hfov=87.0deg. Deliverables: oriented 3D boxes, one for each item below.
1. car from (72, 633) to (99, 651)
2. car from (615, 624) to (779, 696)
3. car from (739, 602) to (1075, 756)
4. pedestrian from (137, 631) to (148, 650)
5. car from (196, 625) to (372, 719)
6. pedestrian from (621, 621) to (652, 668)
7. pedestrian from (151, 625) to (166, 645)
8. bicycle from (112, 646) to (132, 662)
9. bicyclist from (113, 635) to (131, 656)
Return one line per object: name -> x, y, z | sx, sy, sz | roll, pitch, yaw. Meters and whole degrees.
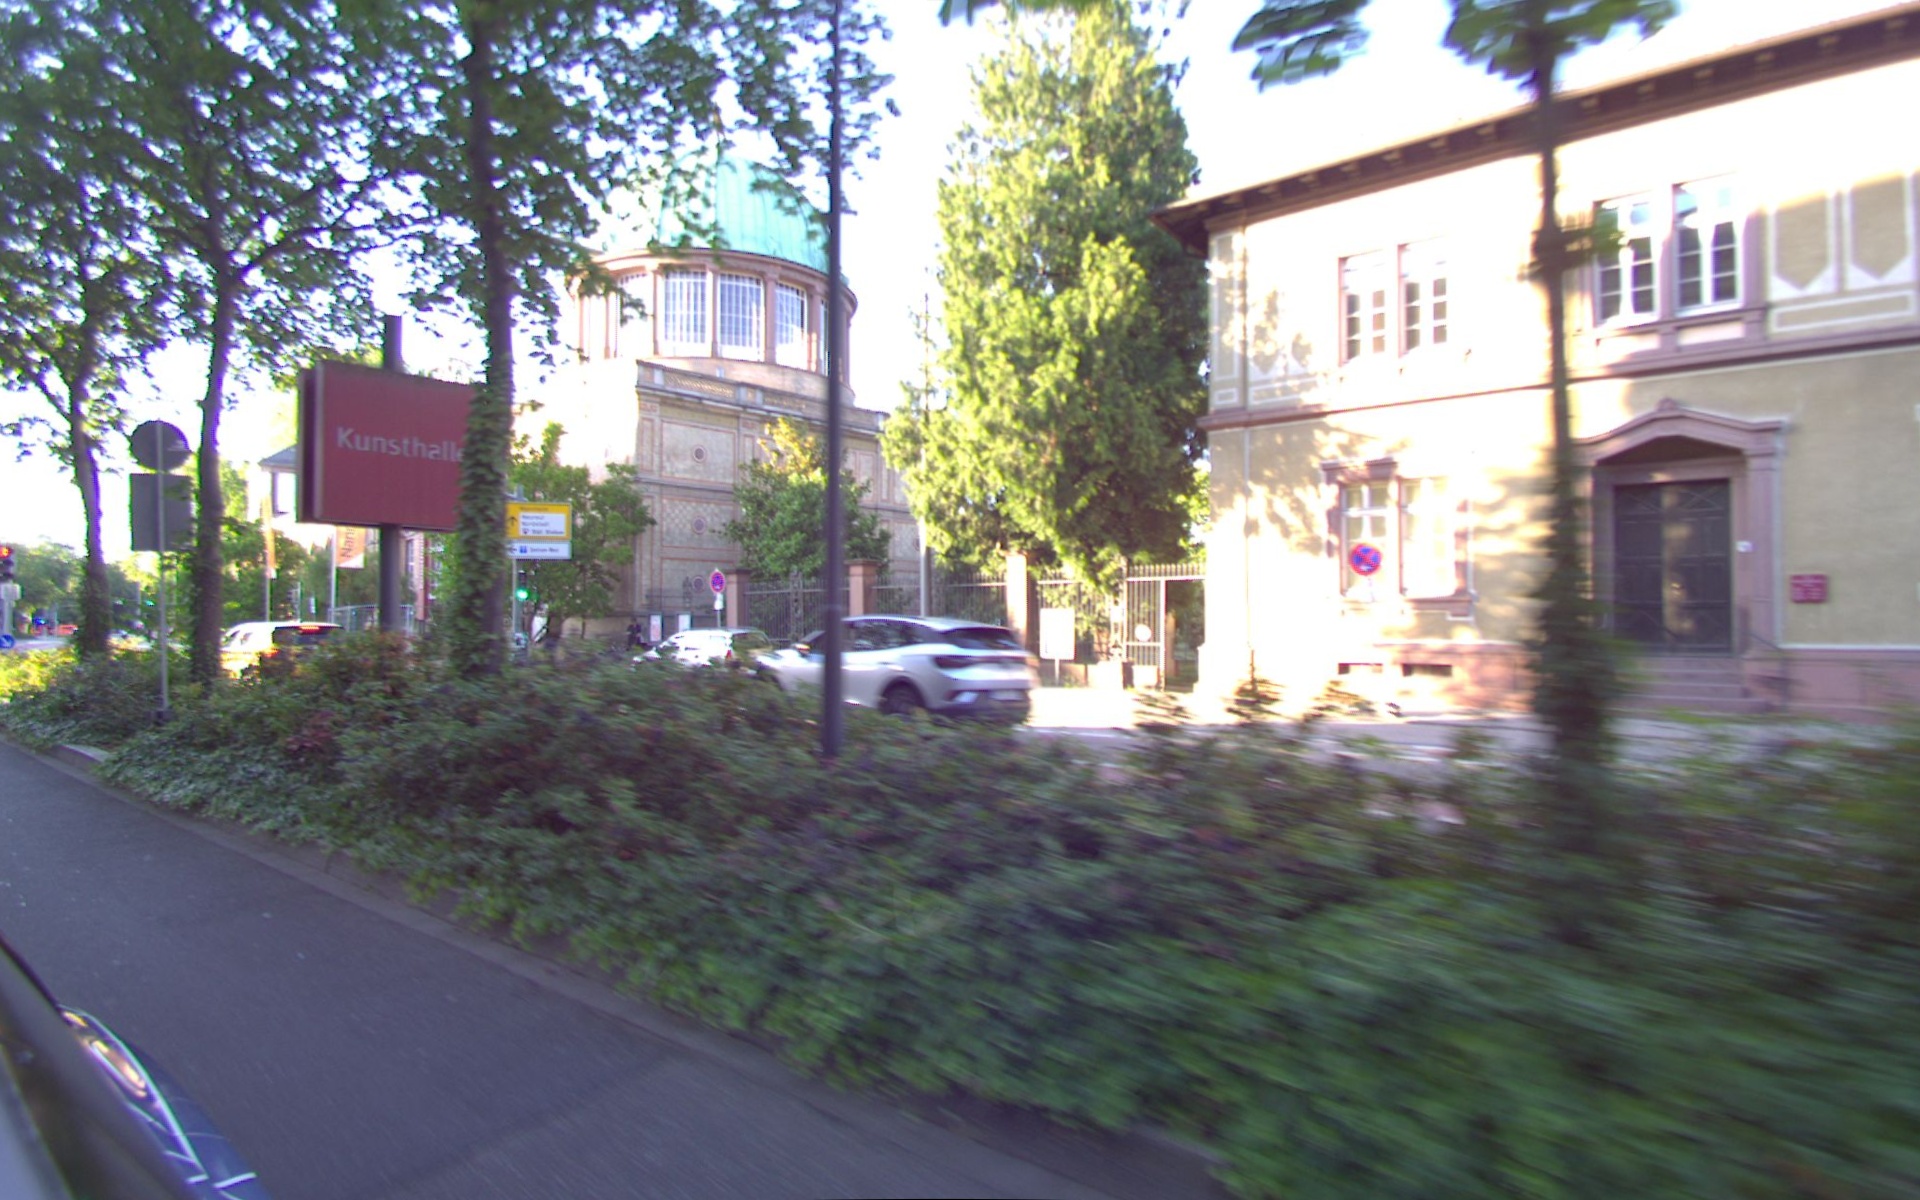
car -> -79.262, 3.795, 91.757 | 1.800, 1.519, 4.434 | 1, -2, -40
car -> -6.630, 1.426, 25.299 | 4.365, 1.559, 1.727 | 0, 0, 39
car -> -0.846, 0.957, 13.378 | 4.557, 1.687, 1.822 | -2, -4, 44
pedestrian -> -71.718, 3.550, 88.772 | 0.666, 1.524, 0.836 | -3, -1, -44
car -> -12.704, 1.266, 18.915 | 4.118, 1.559, 1.825 | -2, -3, 43
pedestrian -> -11.096, 1.533, 34.744 | 0.762, 1.591, 0.728 | -2, -2, 41
pedestrian -> -70.813, 3.125, 89.405 | 0.795, 1.751, 0.852 | 0, -2, -18
bicycle -> -57.883, 3.730, 69.884 | 1.931, 1.099, 0.745 | -2, -4, 41
bicyclist -> -57.892, 3.145, 69.929 | 0.937, 1.471, 0.739 | -2, -4, 41
